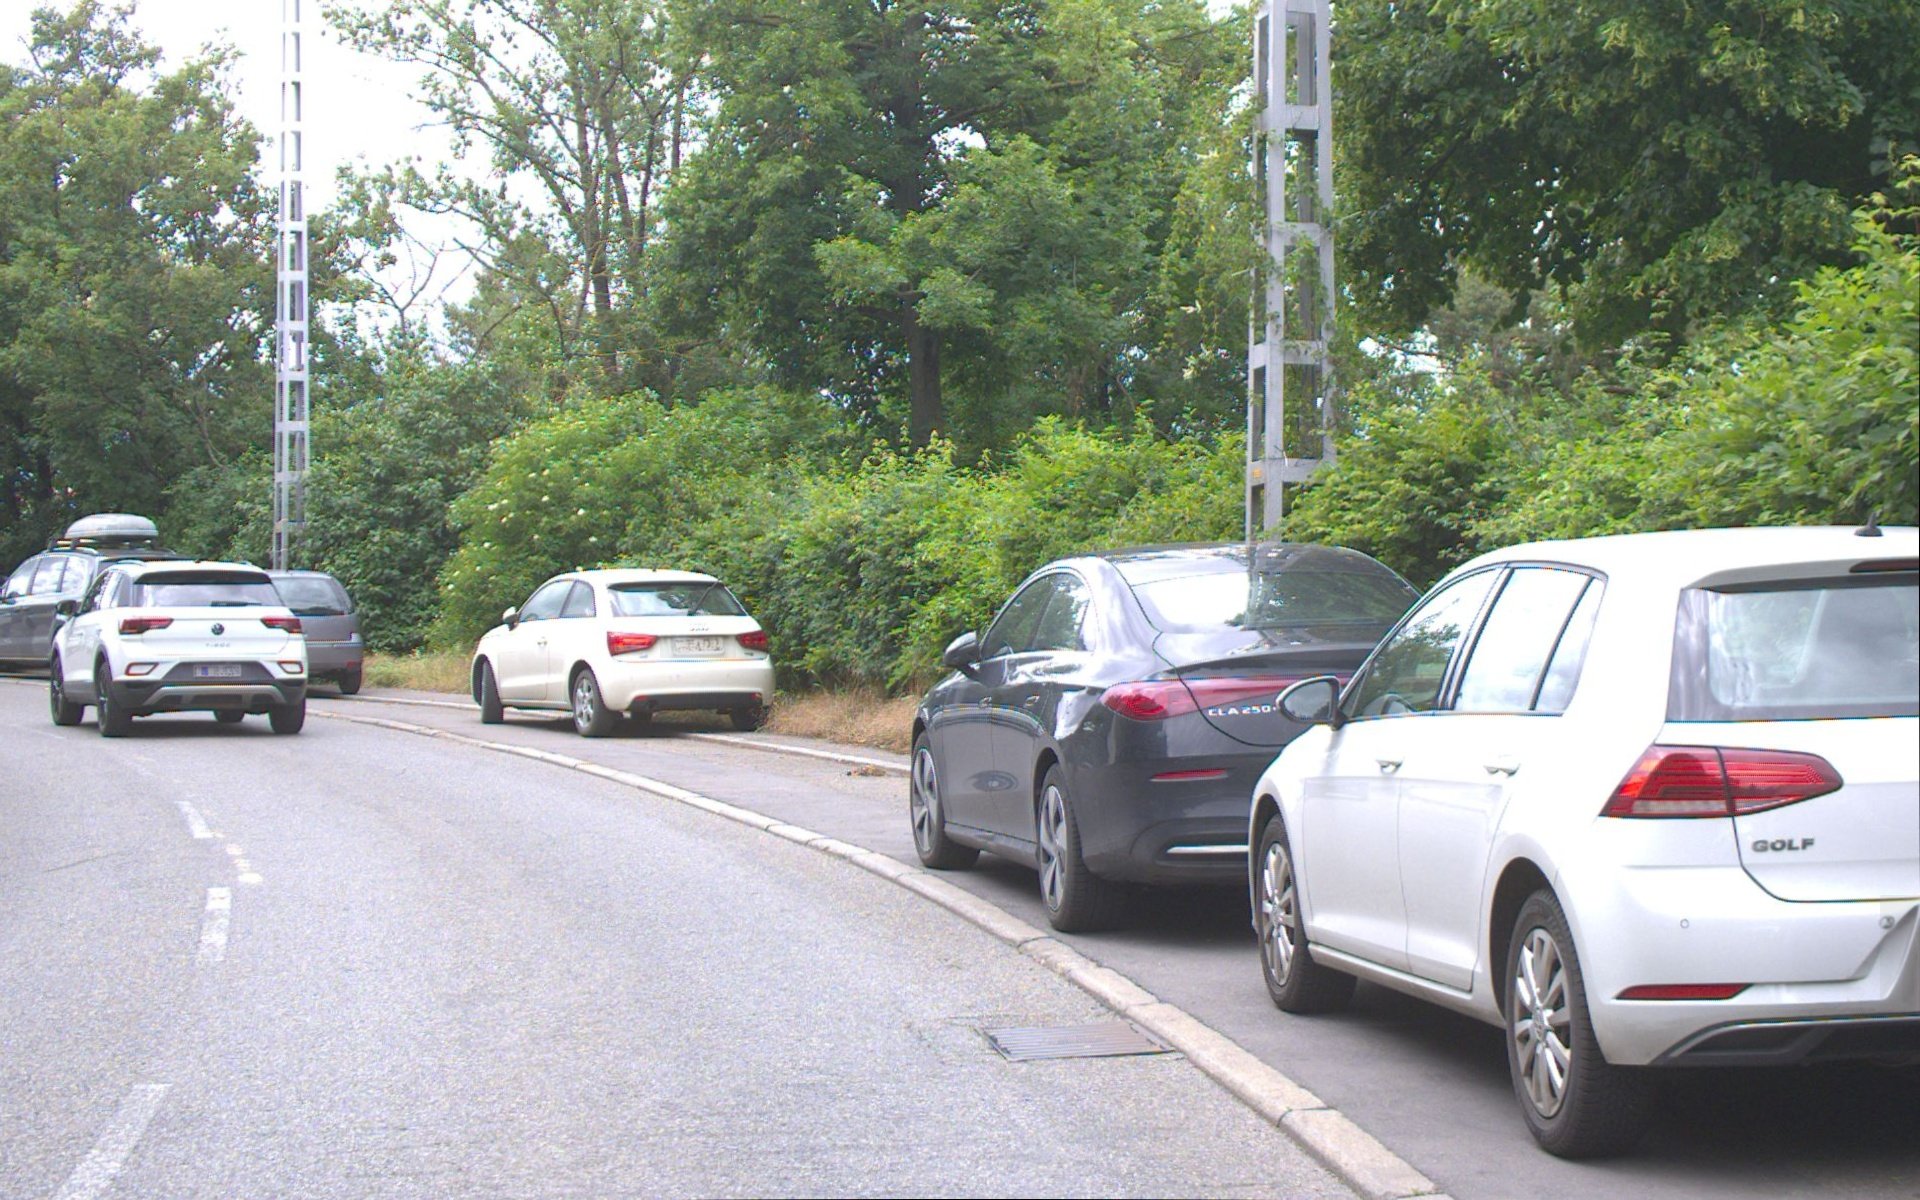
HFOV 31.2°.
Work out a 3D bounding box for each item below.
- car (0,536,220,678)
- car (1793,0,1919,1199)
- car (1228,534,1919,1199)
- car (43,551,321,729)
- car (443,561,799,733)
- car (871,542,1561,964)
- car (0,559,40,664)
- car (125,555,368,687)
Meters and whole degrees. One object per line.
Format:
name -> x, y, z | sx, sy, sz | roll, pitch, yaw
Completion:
car -> -11.616, 0.071, 45.513 | 1.798, 1.766, 4.606 | 2, 0, -36
car -> 2.707, 0.053, 3.723 | 2.084, 2.515, 5.845 | -2, 1, 0
car -> 1.965, 0.570, 9.204 | 1.700, 1.459, 3.836 | -1, 1, -8
car -> -7.204, 0.315, 31.575 | 1.866, 1.531, 3.804 | 0, 1, -22
car -> -3.120, 0.373, 30.895 | 1.777, 1.413, 4.000 | -1, 1, -28
car -> 0.858, 0.496, 14.393 | 1.700, 1.459, 4.665 | 0, 1, -11
car -> -14.978, 0.124, 50.185 | 1.660, 1.482, 4.034 | 2, 0, -35
car -> -8.448, 0.235, 40.492 | 1.641, 1.459, 4.000 | 1, 0, -29
